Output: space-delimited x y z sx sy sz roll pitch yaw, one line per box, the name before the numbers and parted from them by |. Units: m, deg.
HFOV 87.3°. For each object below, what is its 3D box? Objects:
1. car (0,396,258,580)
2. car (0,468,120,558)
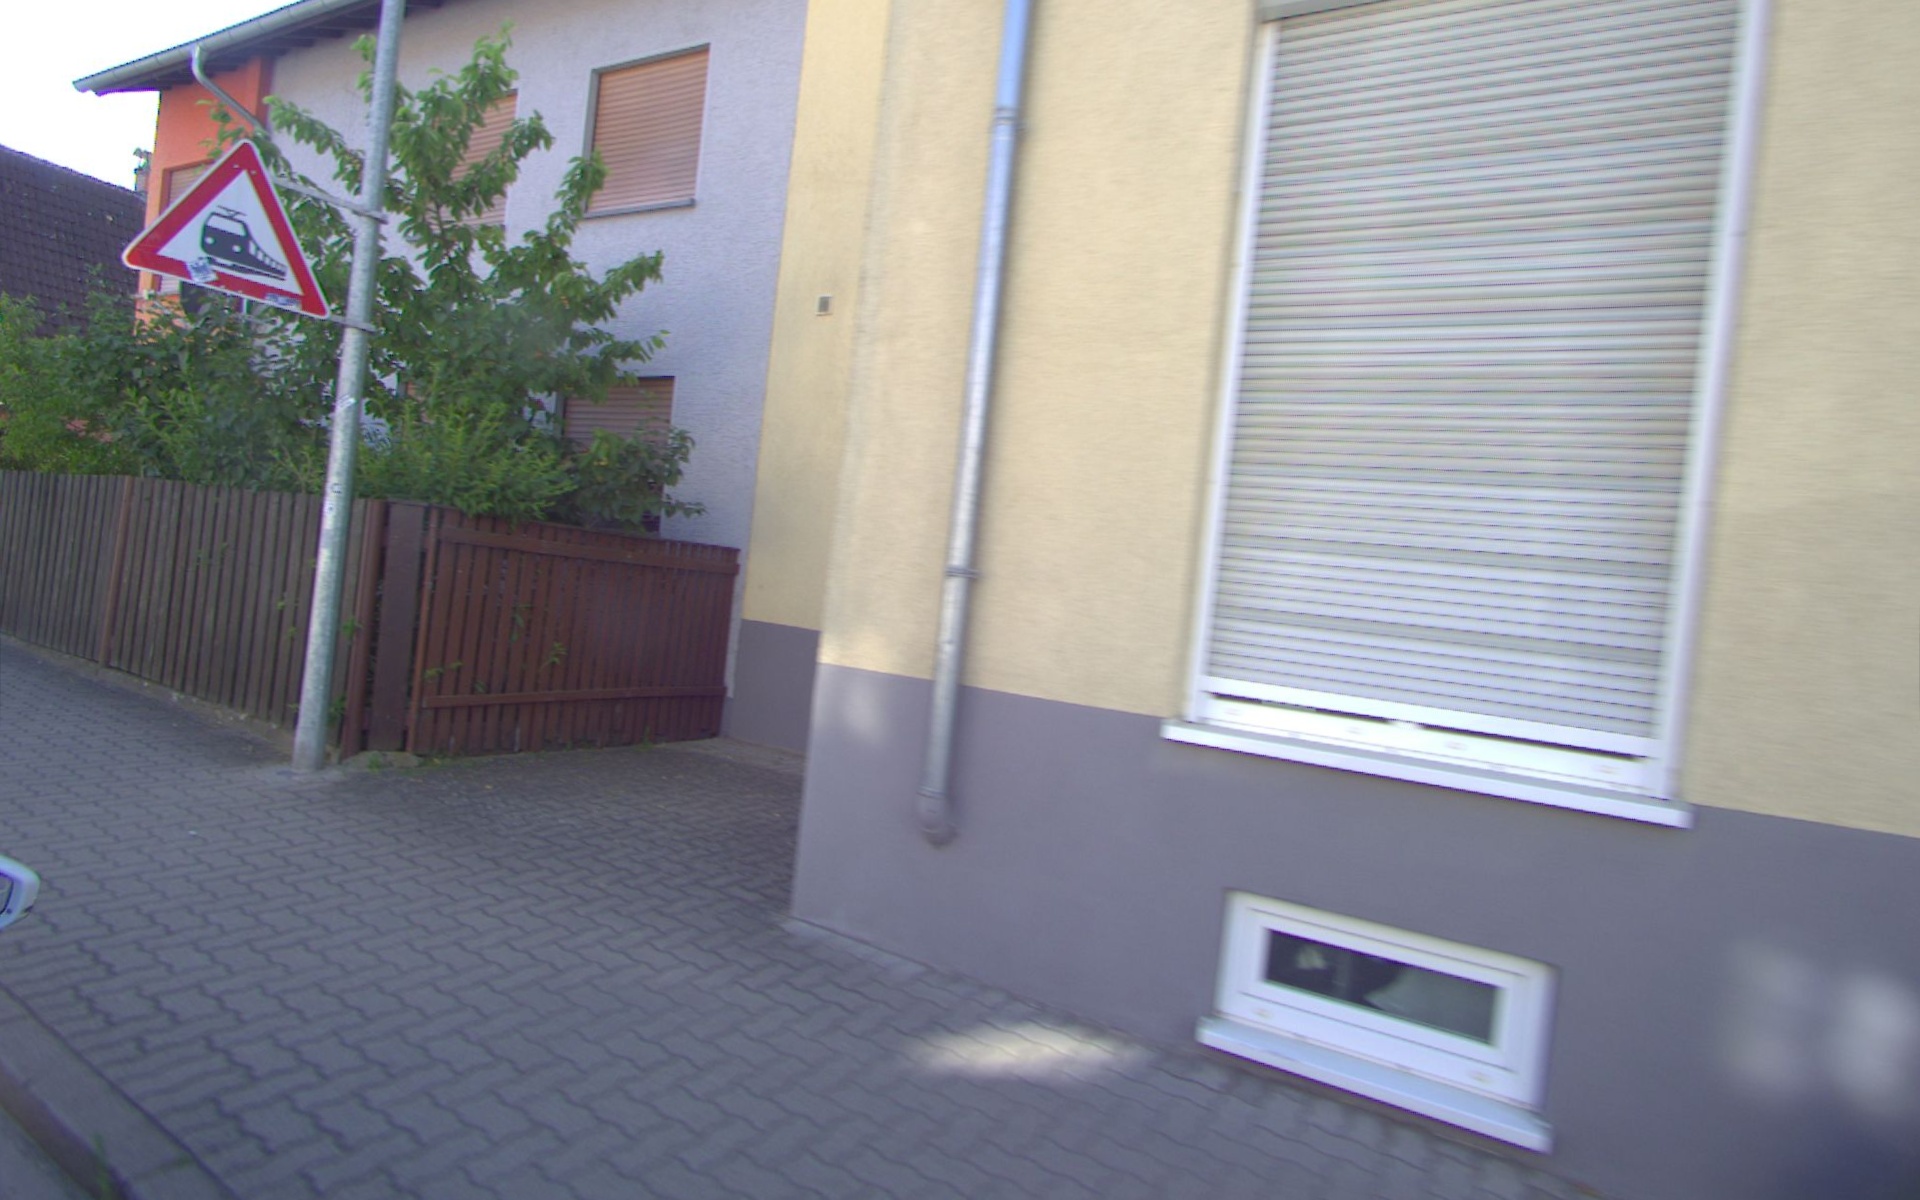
car | -15.551 -1.900 16.897 1.934 2.689 5.809 6 1 28
car | -18.381 -1.729 18.306 1.809 1.506 4.376 6 1 31
